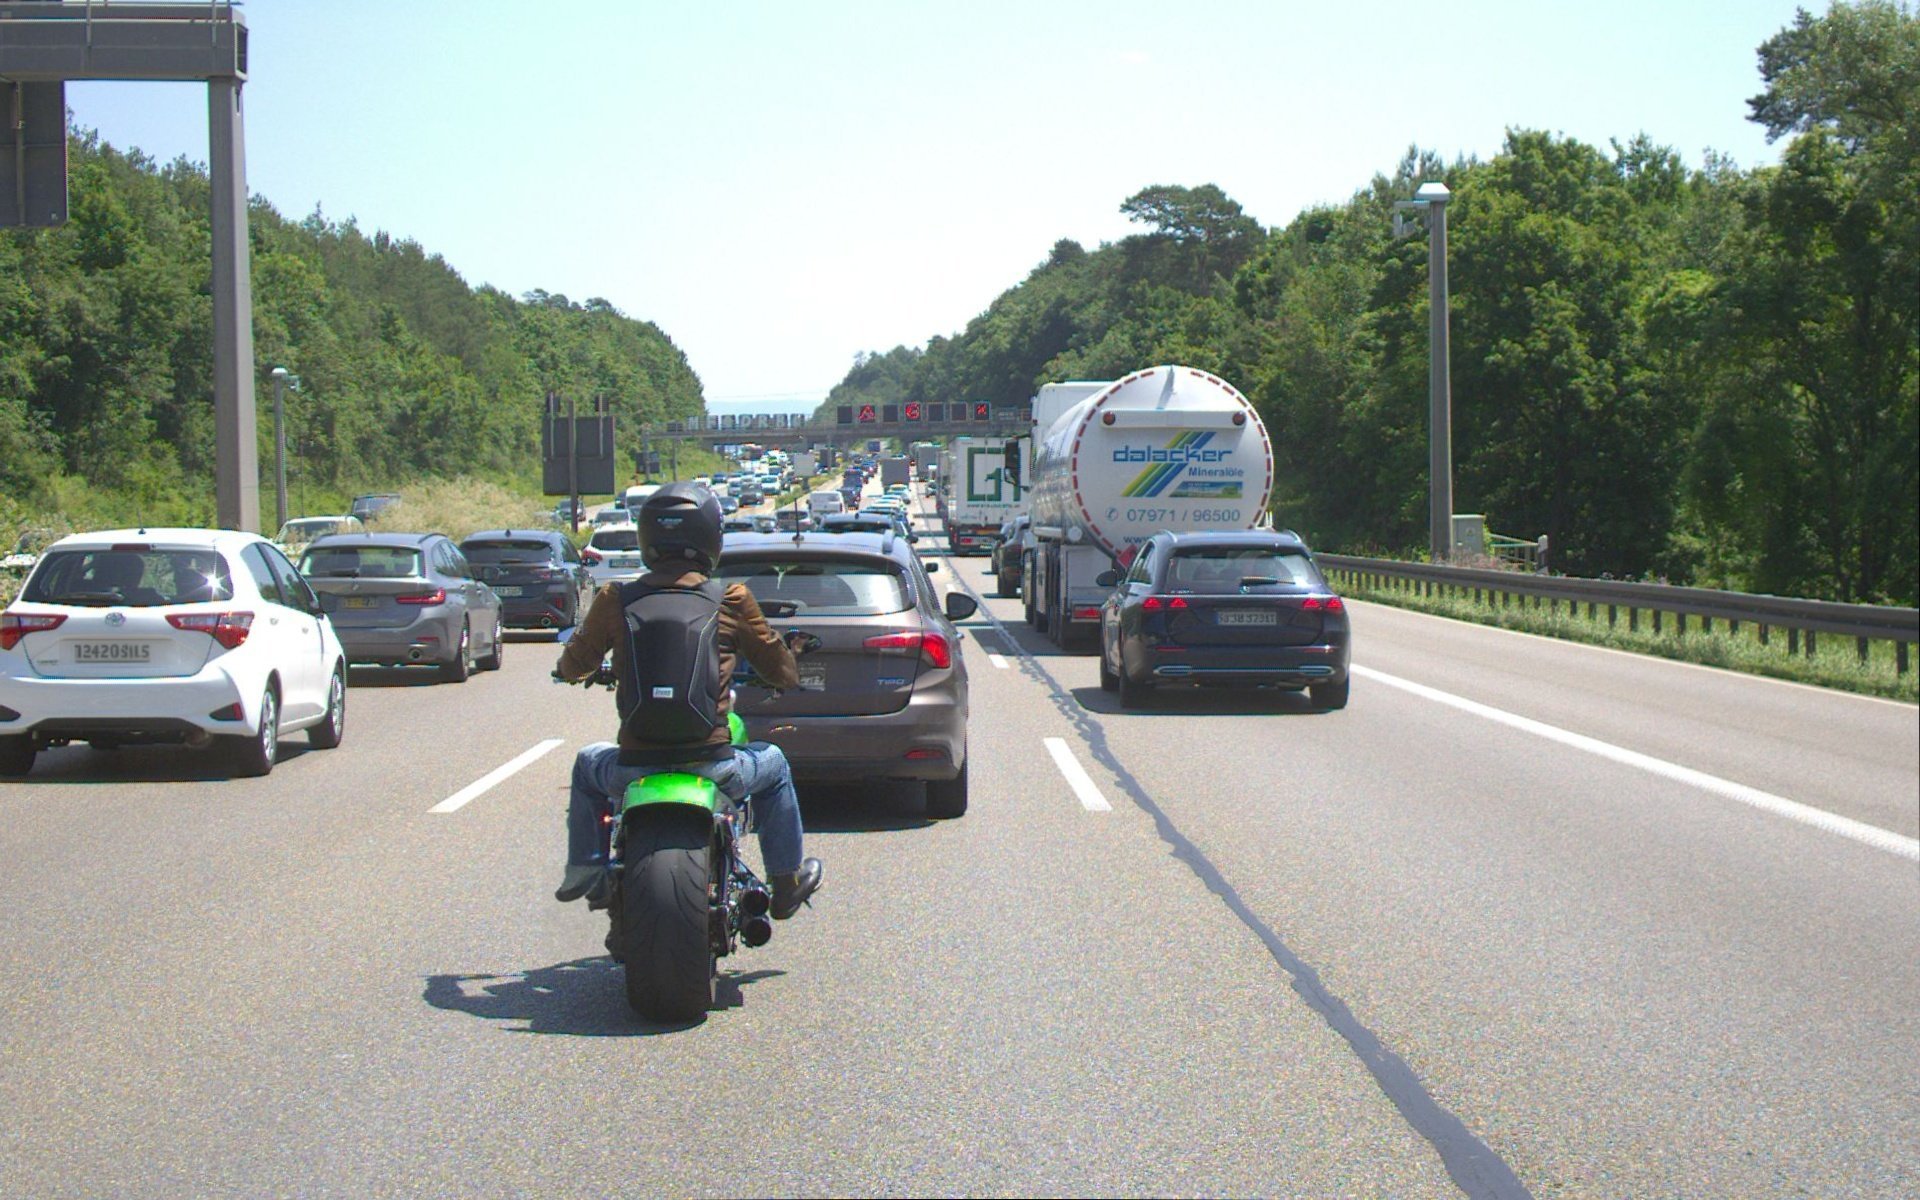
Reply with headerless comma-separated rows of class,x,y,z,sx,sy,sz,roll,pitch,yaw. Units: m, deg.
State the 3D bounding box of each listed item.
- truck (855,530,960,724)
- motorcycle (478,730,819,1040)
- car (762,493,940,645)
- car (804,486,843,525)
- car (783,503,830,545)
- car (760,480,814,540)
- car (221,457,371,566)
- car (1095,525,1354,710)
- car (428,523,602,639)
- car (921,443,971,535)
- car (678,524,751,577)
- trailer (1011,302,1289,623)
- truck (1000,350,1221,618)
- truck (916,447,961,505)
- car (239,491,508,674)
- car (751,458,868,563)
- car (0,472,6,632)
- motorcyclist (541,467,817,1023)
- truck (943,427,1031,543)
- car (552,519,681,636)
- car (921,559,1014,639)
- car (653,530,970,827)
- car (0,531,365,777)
truck,-1.380,0.519,85.196,2.388,4.448,10.870,0,1,-2
motorcycle,-0.962,0.880,11.242,0.936,0.790,2.299,0,1,-1
car,-1.287,-0.351,40.737,1.993,1.705,4.000,0,0,-2
car,-7.330,-5.066,185.130,1.993,2.007,4.000,-1,1,-1
car,-6.003,-2.948,134.563,1.660,1.594,4.000,0,0,0
car,-5.824,-3.021,115.960,1.660,1.971,4.000,0,0,0
car,-12.906,-1.685,67.040,1.993,2.007,4.347,0,0,1
car,2.190,0.136,29.577,1.792,1.453,4.624,0,0,-1
car,-5.859,-0.239,45.665,1.993,1.459,4.000,0,0,-3
car,-0.673,-5.010,157.081,2.167,3.879,9.330,0,0,-1
car,-6.832,-1.392,95.927,1.764,1.437,4.000,0,1,0
trailer,2.254,-1.583,44.715,2.828,3.658,10.733,0,0,-1
truck,2.104,-1.599,50.433,2.828,3.658,6.430,0,0,-1
truck,-1.417,-7.873,219.254,2.696,3.394,10.479,-1,1,-1
car,-5.729,-0.164,34.073,1.993,1.678,4.330,0,0,-1
car,-2.660,-1.564,61.391,1.993,1.769,4.000,0,0,-2
car,-13.028,-0.607,41.435,1.993,2.007,4.193,0,0,-2
motorcyclist,-0.872,0.439,10.941,0.799,1.682,1.016,0,0,-1
truck,0.975,-3.945,119.622,2.854,3.808,7.187,0,0,2
car,-6.129,-0.395,61.776,1.993,2.007,4.000,0,0,-1
car,0.121,-0.027,68.071,1.776,1.522,4.000,0,0,-1
car,-0.758,0.355,18.849,1.541,1.445,4.000,0,1,-1
car,-4.991,0.308,21.839,1.776,1.406,4.000,0,0,-1
